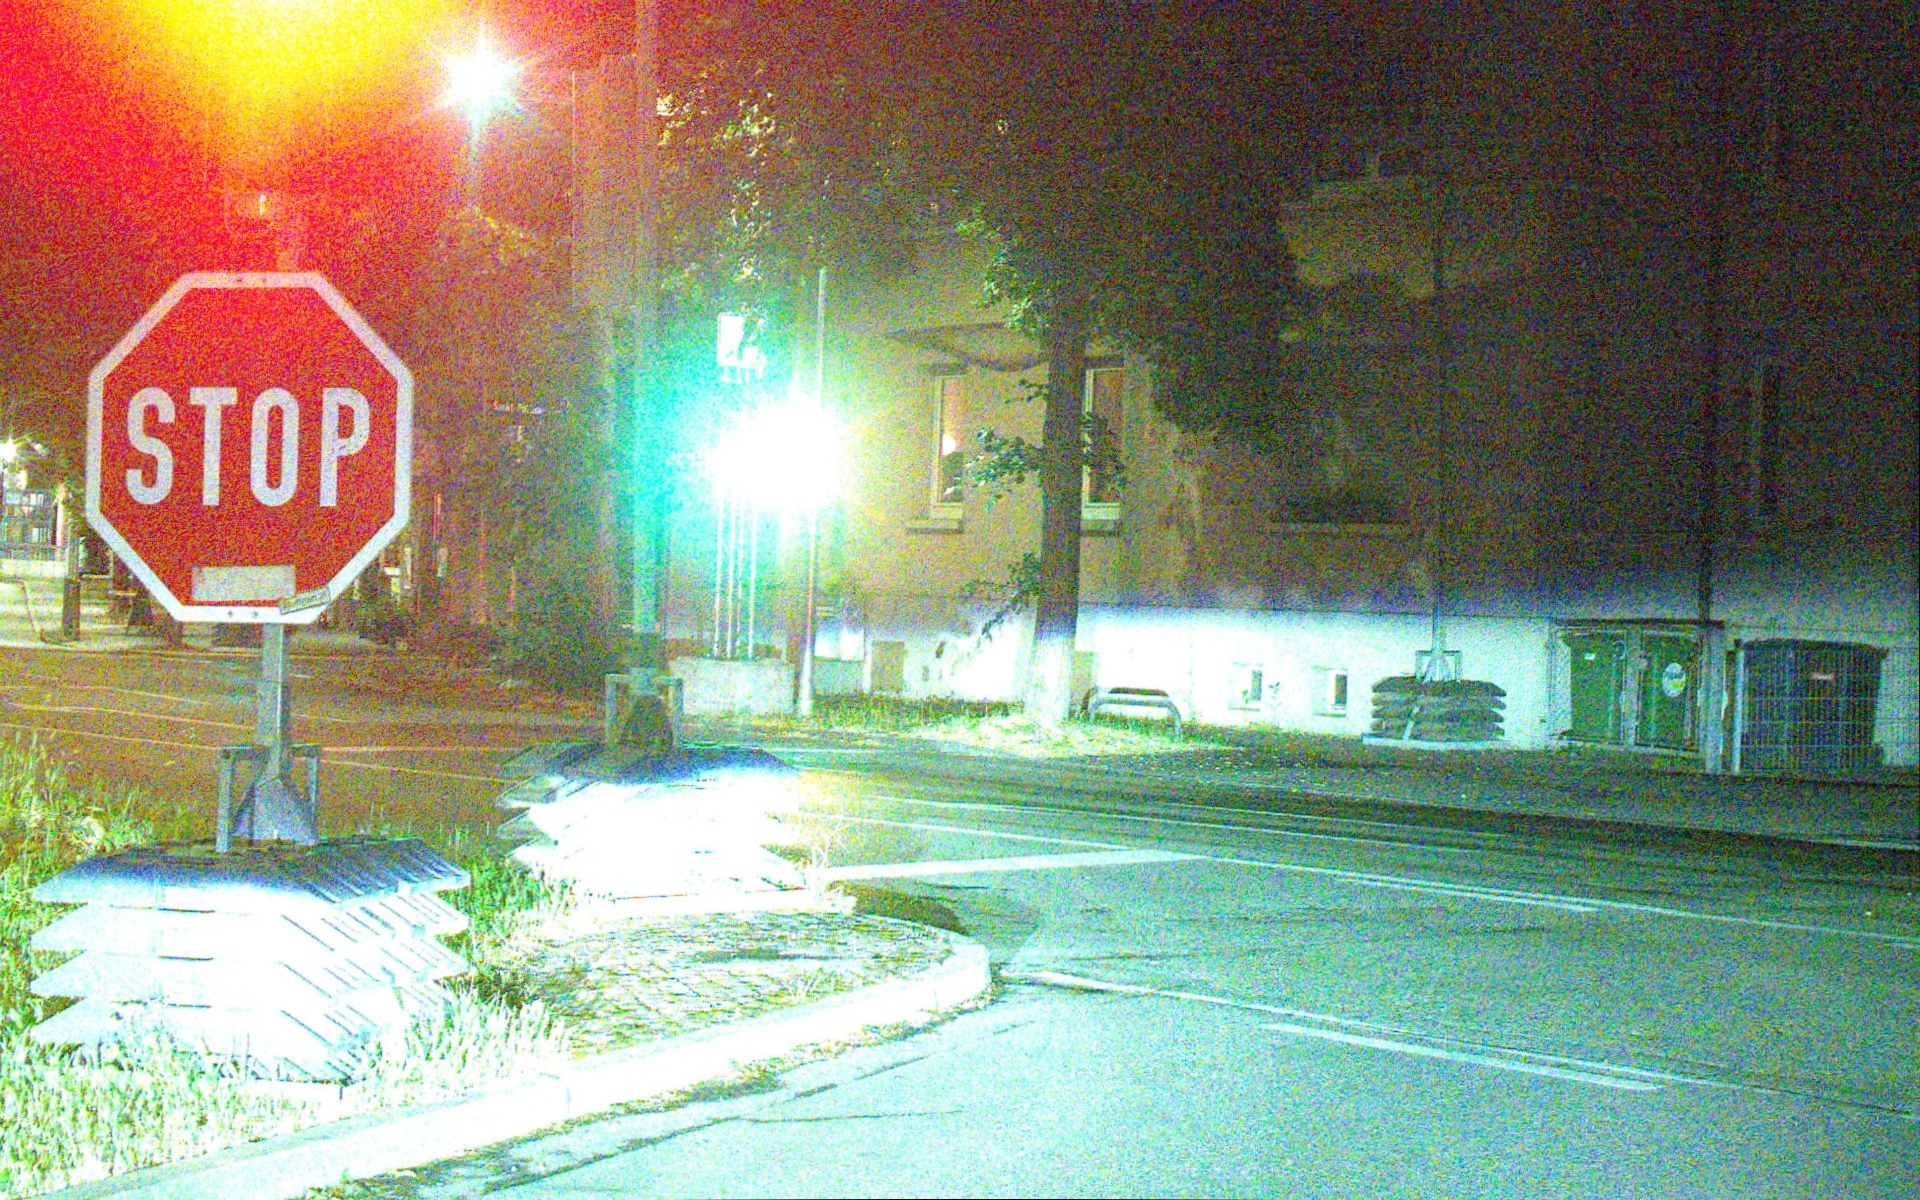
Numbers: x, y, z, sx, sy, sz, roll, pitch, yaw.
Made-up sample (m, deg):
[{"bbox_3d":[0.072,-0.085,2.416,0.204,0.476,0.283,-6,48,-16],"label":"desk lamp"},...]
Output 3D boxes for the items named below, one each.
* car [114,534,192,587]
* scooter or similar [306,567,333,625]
[{"bbox_3d":[-24.533,-1.206,104.405,1.733,1.454,4.729,3,0,-19],"label":"car"},{"bbox_3d":[-12.818,-0.078,68.858,0.421,1.126,1.494,2,1,-8],"label":"scooter or similar"}]
